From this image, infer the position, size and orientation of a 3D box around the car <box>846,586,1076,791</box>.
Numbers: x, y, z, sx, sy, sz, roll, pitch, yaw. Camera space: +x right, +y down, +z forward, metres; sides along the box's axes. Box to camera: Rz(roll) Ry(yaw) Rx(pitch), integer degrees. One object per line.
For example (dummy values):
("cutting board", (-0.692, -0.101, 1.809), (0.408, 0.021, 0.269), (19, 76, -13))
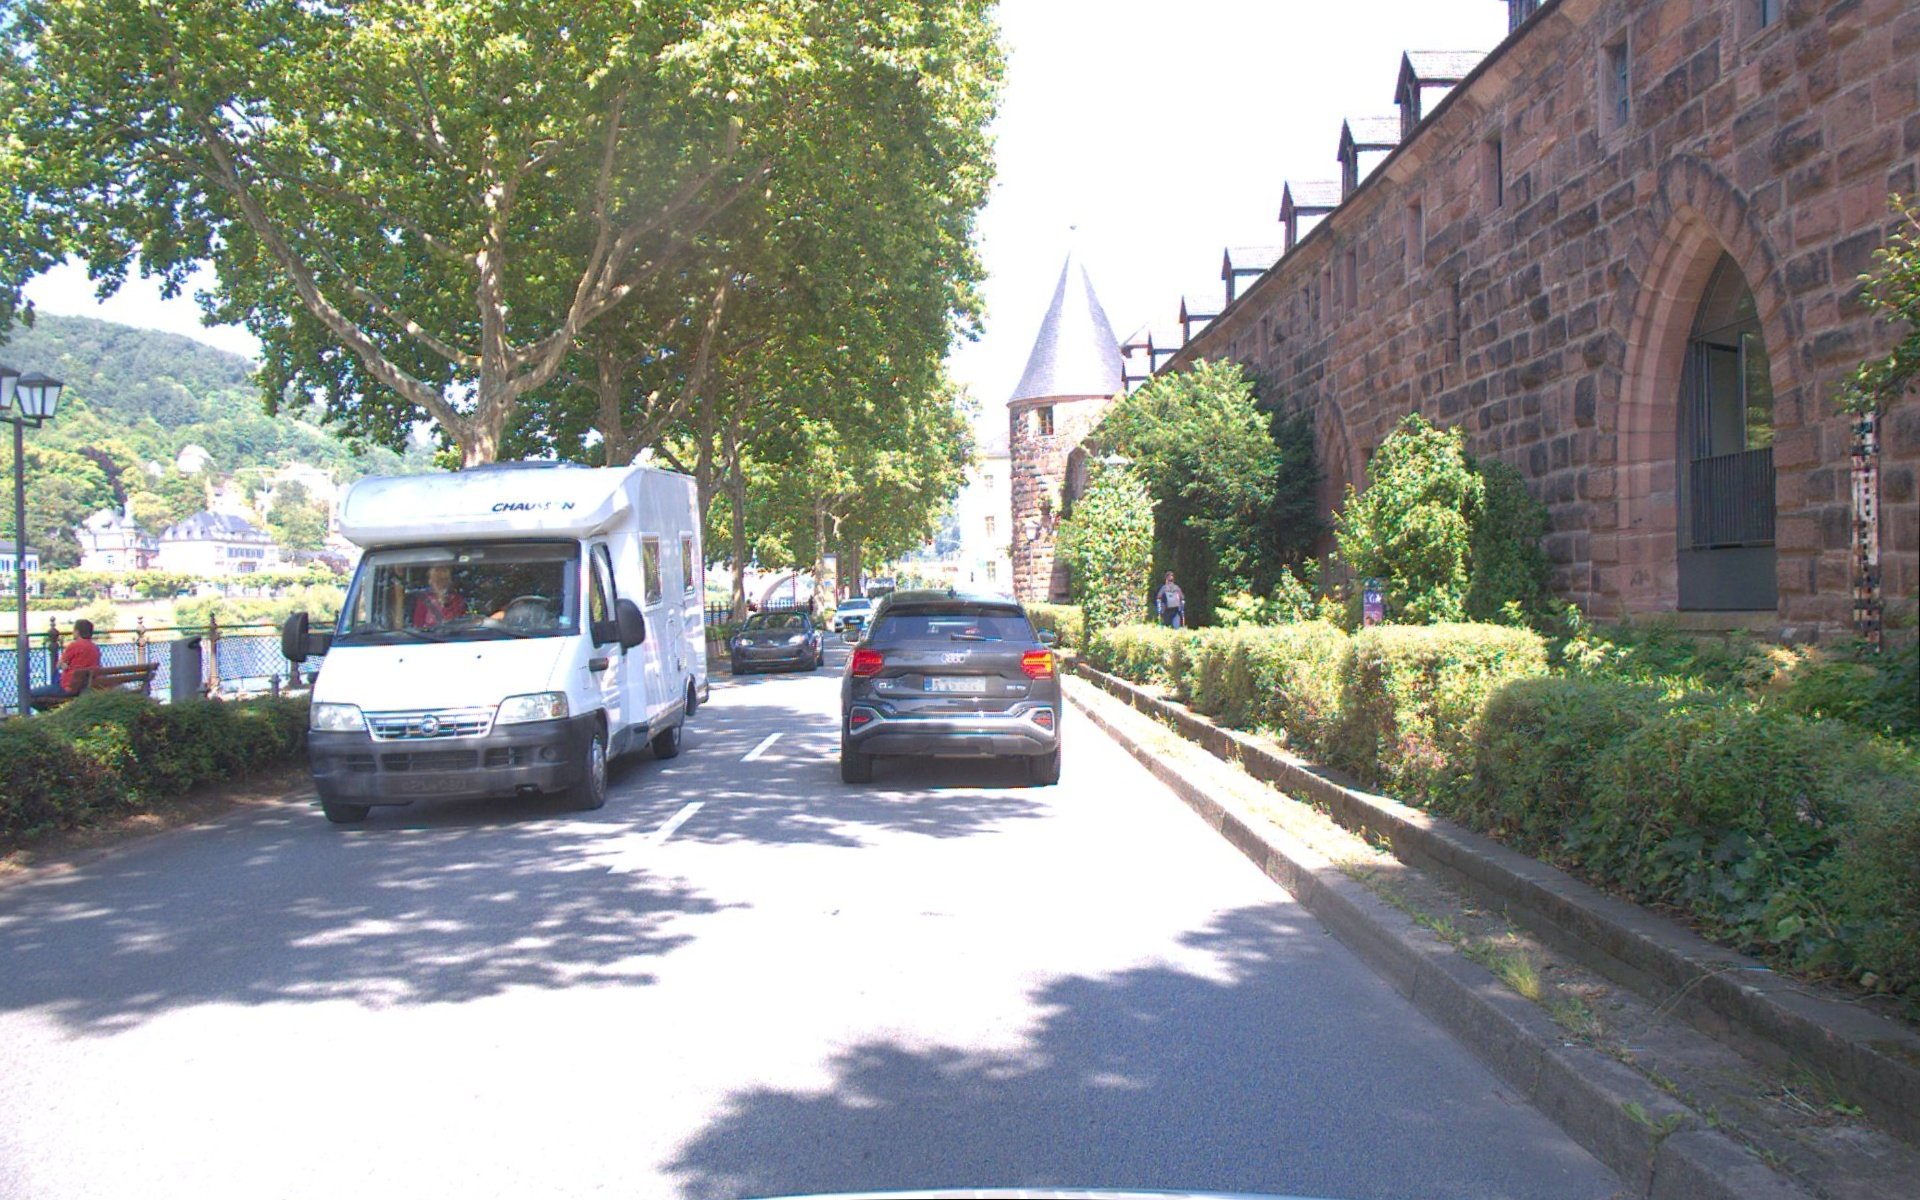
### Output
("car", (-0.046, 0.663, 14.222), (1.713, 1.521, 3.627), (1, 0, -2))

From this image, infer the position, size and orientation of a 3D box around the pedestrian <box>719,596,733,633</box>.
("pedestrian", (-10.192, 0.621, 72.034), (0.448, 1.581, 0.585), (-2, 0, -1))

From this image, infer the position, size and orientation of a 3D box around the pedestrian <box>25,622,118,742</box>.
("pedestrian", (-10.185, 0.932, 18.983), (0.688, 1.331, 0.656), (1, -1, 0))

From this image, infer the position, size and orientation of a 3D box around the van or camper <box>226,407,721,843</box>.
("van or camper", (-3.604, 0.167, 13.855), (2.275, 2.708, 6.263), (-3, 0, -1))

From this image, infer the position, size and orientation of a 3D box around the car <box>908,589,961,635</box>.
("car", (-0.931, 0.416, 58.408), (1.734, 1.482, 4.532), (-2, 0, -2))

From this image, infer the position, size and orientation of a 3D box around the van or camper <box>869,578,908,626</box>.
("van or camper", (-4.102, 0.130, 95.758), (1.921, 2.612, 5.839), (-3, 0, -1))

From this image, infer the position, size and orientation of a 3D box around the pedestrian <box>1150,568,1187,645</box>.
("pedestrian", (4.684, 0.142, 37.159), (0.684, 1.681, 0.705), (-2, 0, 1))

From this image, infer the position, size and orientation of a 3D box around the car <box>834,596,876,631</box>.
("car", (-4.778, 0.586, 75.834), (1.734, 1.482, 4.532), (-2, 0, -2))

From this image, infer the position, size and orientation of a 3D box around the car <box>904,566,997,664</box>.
("car", (-0.242, 0.314, 37.938), (1.953, 2.049, 3.999), (-2, 0, -1))

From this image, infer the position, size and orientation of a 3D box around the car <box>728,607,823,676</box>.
("car", (-3.729, 0.804, 33.854), (1.665, 1.232, 3.483), (-4, 0, -3))

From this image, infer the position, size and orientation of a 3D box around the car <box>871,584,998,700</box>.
("car", (-0.334, 0.589, 25.550), (1.764, 1.589, 3.716), (-2, 0, 1))
